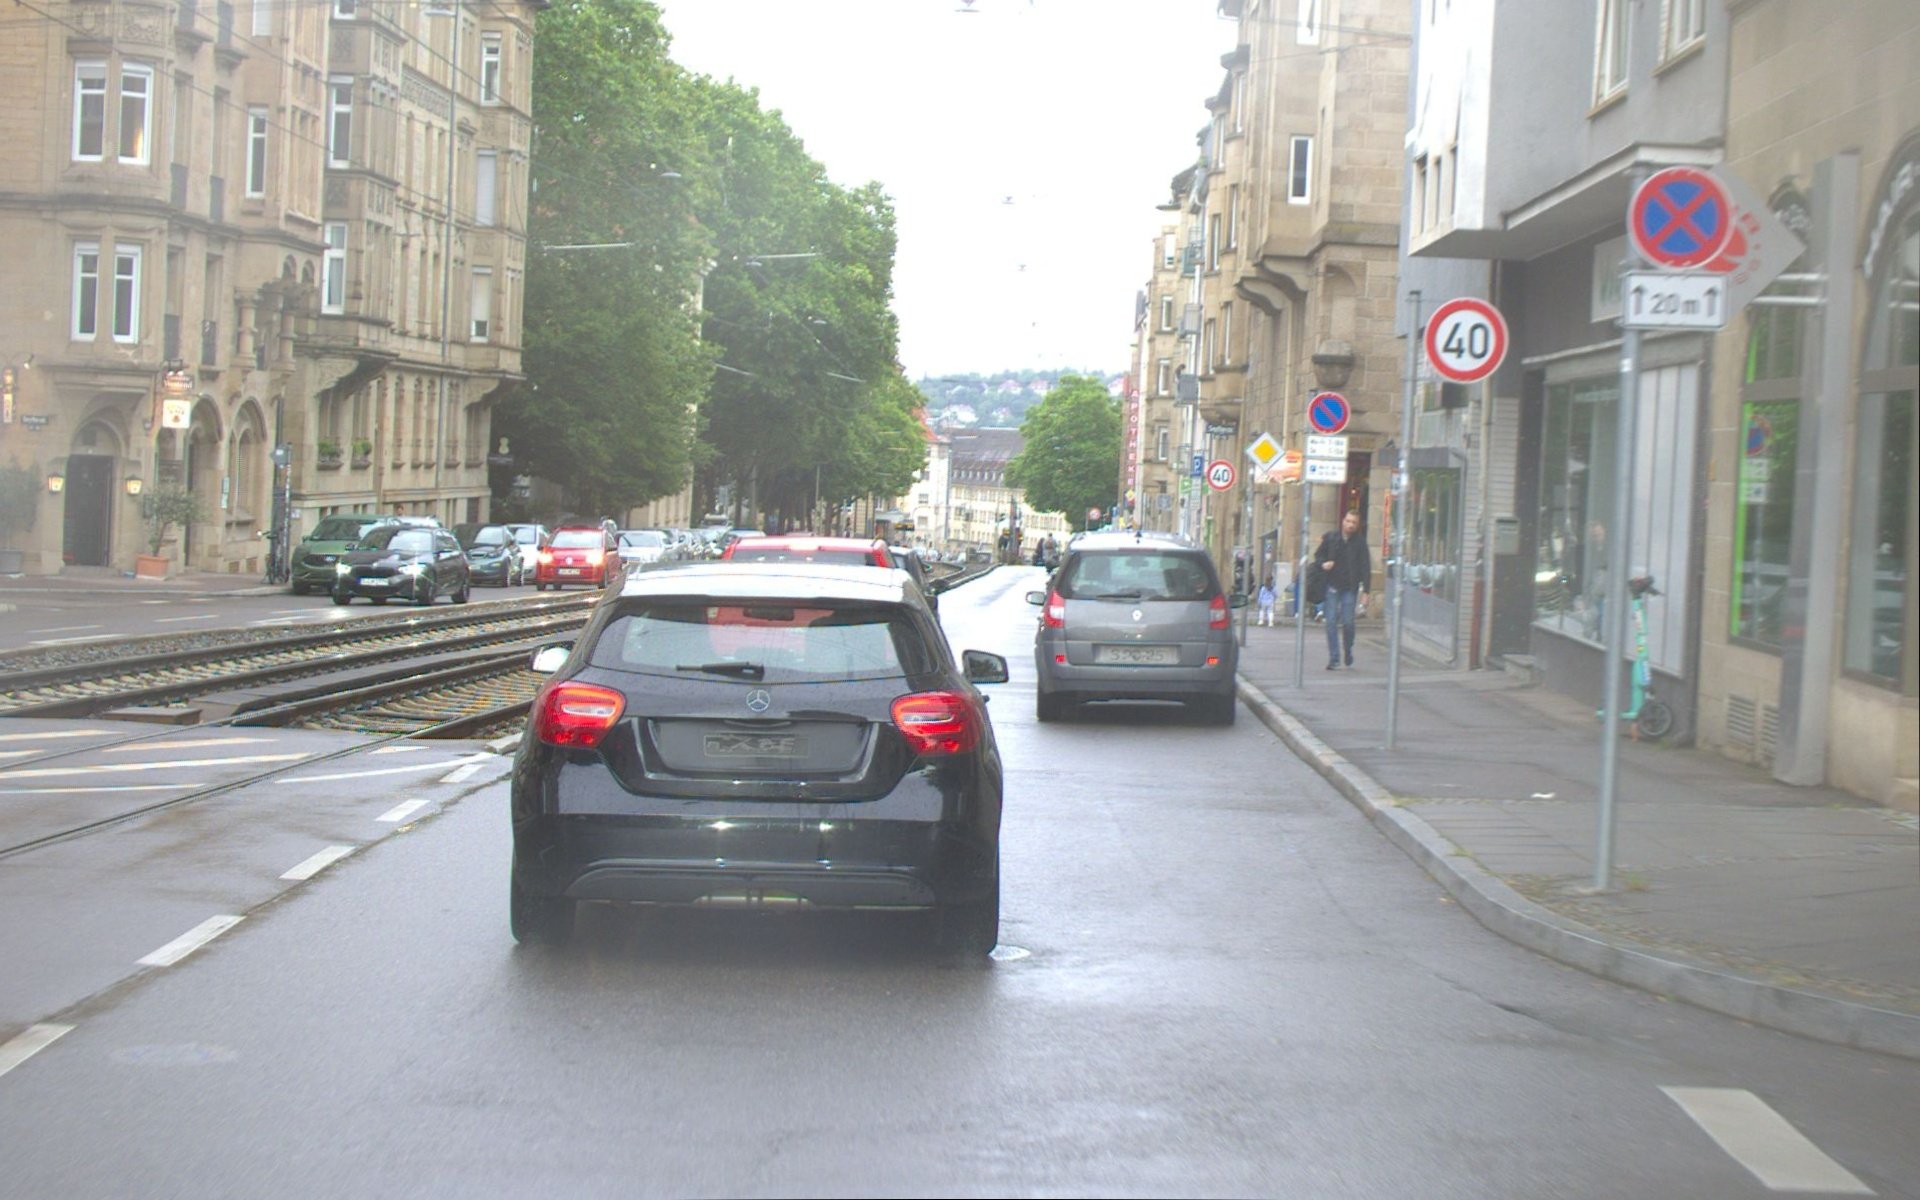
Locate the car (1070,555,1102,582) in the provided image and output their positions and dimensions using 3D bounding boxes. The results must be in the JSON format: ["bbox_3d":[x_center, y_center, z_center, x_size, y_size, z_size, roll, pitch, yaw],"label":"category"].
[{"bbox_3d":[6.686,-1.682,182.868,1.613,1.313,4.000,3,1,2],"label":"car"}]

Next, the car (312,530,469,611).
[{"bbox_3d":[-10.202,-0.546,61.865,1.948,1.392,4.274,1,1,2],"label":"car"}]

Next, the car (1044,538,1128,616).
[{"bbox_3d":[2.541,-0.482,69.760,1.622,1.479,4.000,1,1,2],"label":"car"}]

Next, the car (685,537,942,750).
[{"bbox_3d":[-1.061,0.278,26.591,1.649,1.447,4.000,3,1,1],"label":"car"}]

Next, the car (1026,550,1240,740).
[{"bbox_3d":[1.540,0.347,31.398,1.765,1.553,4.745,1,1,2],"label":"car"}]

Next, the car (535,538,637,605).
[{"bbox_3d":[-8.752,-0.680,80.683,1.681,1.492,3.518,1,1,6],"label":"car"}]

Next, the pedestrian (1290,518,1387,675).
[{"bbox_3d":[4.368,-0.045,39.763,0.945,1.763,1.015,2,1,0],"label":"pedestrian"}]

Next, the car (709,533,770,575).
[{"bbox_3d":[-7.699,-1.609,120.328,1.695,1.384,3.481,1,1,4],"label":"car"}]

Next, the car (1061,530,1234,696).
[{"bbox_3d":[1.983,0.104,37.370,1.683,1.664,4.122,1,1,1],"label":"car"}]

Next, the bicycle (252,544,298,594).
[{"bbox_3d":[-14.158,-0.654,71.115,0.598,0.997,2.080,1,1,-2],"label":"bicycle"}]

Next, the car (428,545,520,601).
[{"bbox_3d":[-11.978,-0.686,84.879,1.569,1.312,3.481,1,1,4],"label":"car"}]

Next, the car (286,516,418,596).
[{"bbox_3d":[-12.312,-0.898,69.794,1.722,1.536,3.933,1,1,4],"label":"car"}]

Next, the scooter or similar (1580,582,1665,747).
[{"bbox_3d":[5.068,0.481,26.320,0.395,1.212,1.107,2,1,0],"label":"scooter or similar"}]

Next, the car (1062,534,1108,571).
[{"bbox_3d":[4.573,-1.735,125.995,1.613,1.313,4.000,1,1,2],"label":"car"}]

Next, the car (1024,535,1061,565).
[{"bbox_3d":[3.726,-2.275,155.504,1.613,1.313,4.000,1,1,2],"label":"car"}]

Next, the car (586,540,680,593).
[{"bbox_3d":[-8.810,-0.922,92.955,1.806,1.356,4.763,1,1,3],"label":"car"}]

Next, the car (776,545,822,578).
[{"bbox_3d":[-6.995,-1.676,149.388,1.569,1.408,3.481,1,1,4],"label":"car"}]

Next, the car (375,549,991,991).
[{"bbox_3d":[-0.937,0.550,13.761,1.867,1.447,4.000,2,1,4],"label":"car"}]
